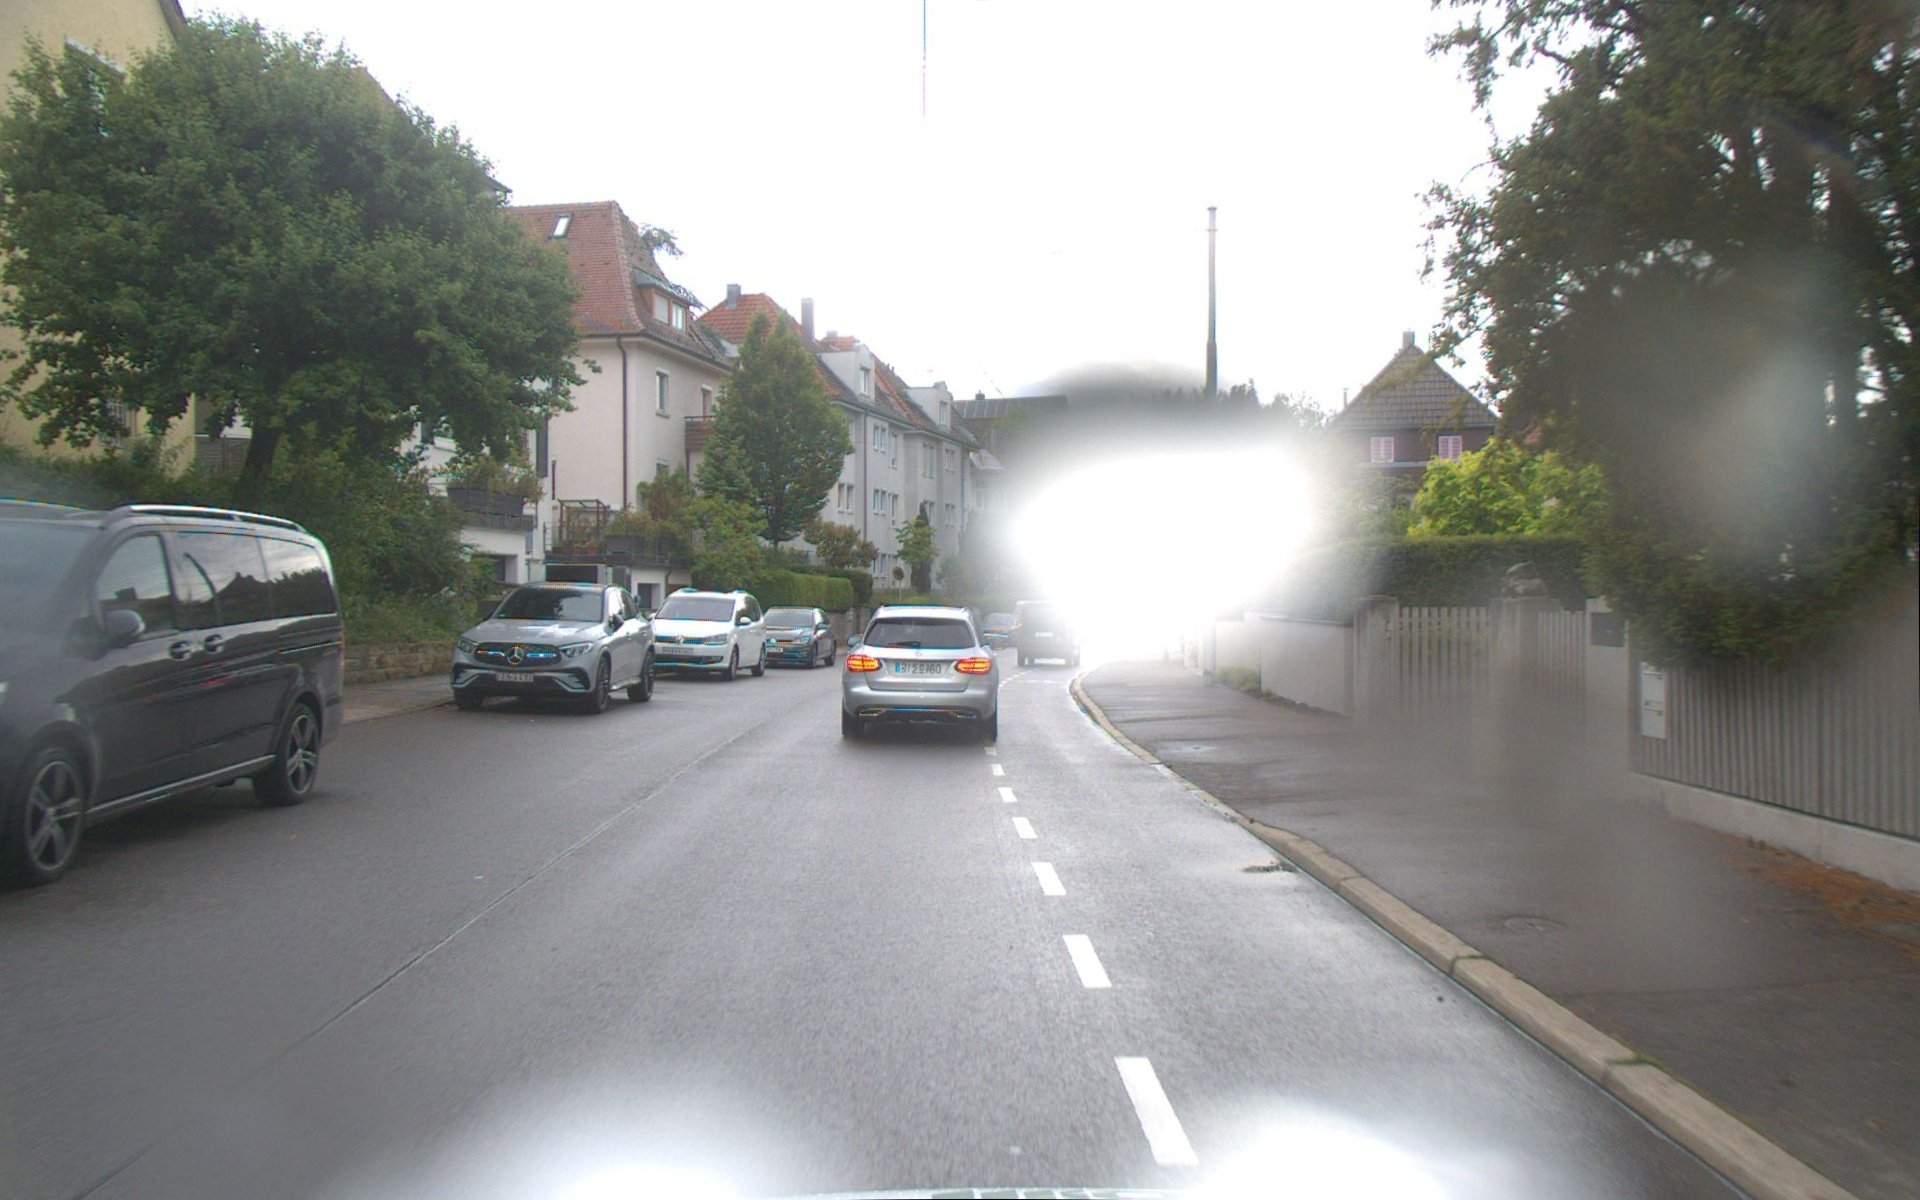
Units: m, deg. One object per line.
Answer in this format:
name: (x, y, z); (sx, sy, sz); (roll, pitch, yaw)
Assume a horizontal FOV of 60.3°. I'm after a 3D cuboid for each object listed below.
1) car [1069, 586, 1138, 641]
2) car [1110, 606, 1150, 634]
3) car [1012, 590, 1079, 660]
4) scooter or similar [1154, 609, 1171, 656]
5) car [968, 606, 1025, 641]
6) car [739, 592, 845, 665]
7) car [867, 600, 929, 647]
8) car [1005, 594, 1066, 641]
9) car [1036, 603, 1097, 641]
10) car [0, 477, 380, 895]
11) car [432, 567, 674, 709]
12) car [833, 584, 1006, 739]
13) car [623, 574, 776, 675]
car: (8.084, 0.695, 92.332); (2.341, 2.820, 6.535); (2, 1, 18)
car: (10.037, 1.187, 97.491); (1.677, 1.472, 3.256); (2, 2, 19)
car: (2.564, 0.734, 48.870); (1.804, 1.937, 4.002); (2, -1, 5)
scooter or similar: (5.792, 0.932, 47.235); (0.440, 1.330, 1.482); (-1, -1, 8)
car: (1.647, 1.003, 73.326); (1.608, 1.442, 4.616); (2, 0, 13)
car: (-4.110, 0.683, 41.072); (1.754, 1.608, 4.141); (3, 0, 6)
car: (-2.090, 0.782, 56.532); (1.571, 1.512, 3.489); (1, 0, 7)
car: (3.622, 0.837, 78.504); (1.790, 2.092, 5.013); (2, 0, 15)
car: (5.517, 1.087, 85.060); (1.952, 1.717, 4.679); (2, 2, 19)
car: (-5.360, 0.351, 9.755); (1.953, 1.911, 5.356); (2, 0, 0)
car: (-5.387, 0.454, 22.576); (1.953, 1.608, 4.762); (3, 0, 1)
car: (-0.445, 0.639, 19.463); (1.779, 1.583, 3.999); (2, 0, -1)
car: (-5.031, 0.452, 32.647); (1.952, 1.732, 4.740); (3, 0, 3)
